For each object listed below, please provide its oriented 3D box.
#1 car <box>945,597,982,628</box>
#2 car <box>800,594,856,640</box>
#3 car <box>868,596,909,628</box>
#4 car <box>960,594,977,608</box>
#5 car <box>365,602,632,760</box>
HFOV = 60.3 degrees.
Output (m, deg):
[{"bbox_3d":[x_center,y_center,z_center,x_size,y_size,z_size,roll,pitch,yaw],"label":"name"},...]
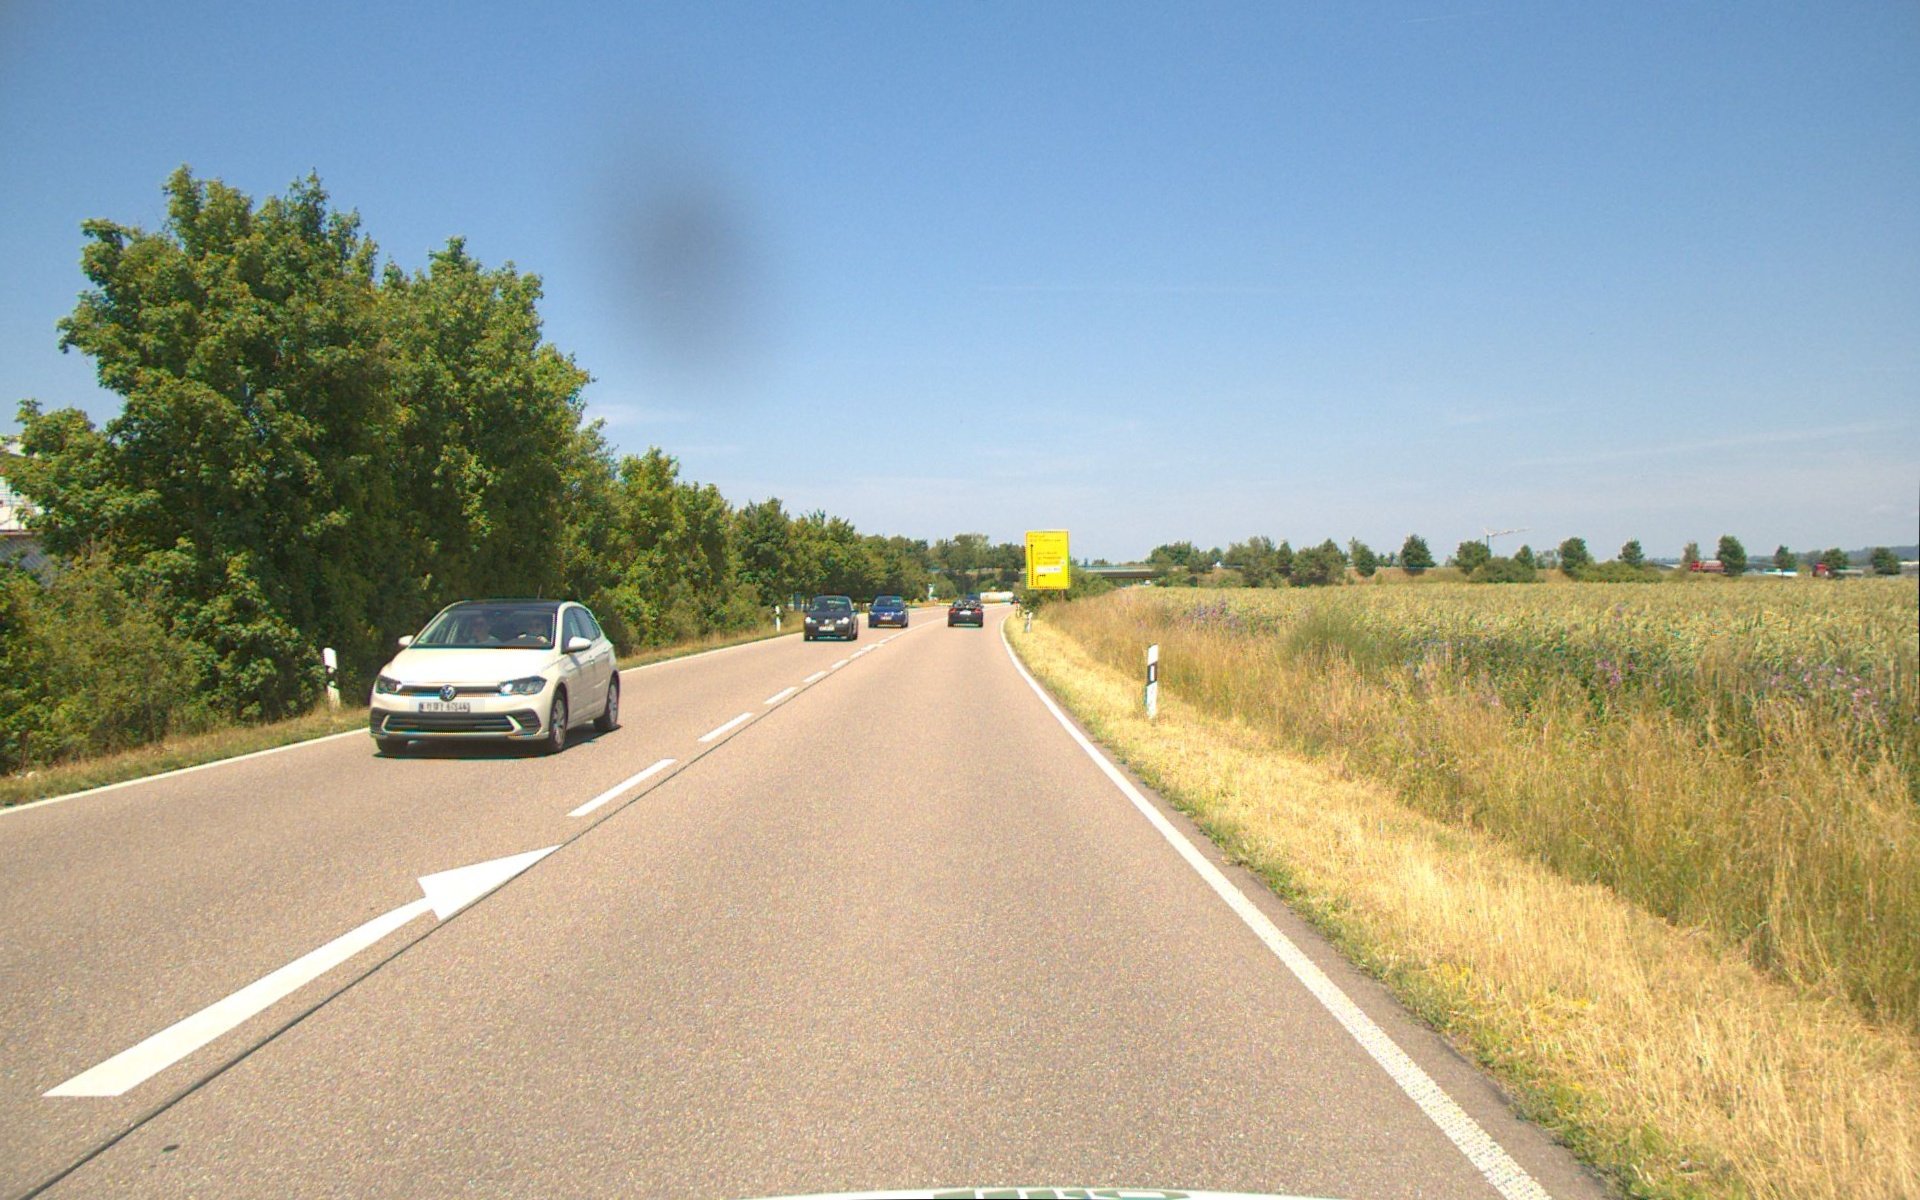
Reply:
[{"bbox_3d":[0.202,0.587,81.786,1.777,1.466,4.000,1,0,1],"label":"car"},{"bbox_3d":[-4.413,0.549,55.650,1.565,1.467,3.999,0,0,0],"label":"car"},{"bbox_3d":[-3.352,0.545,77.917,1.618,1.431,4.001,0,0,2],"label":"car"},{"bbox_3d":[0.915,0.142,176.591,1.744,1.445,4.535,0,0,2],"label":"car"},{"bbox_3d":[-4.539,0.732,16.826,1.672,1.405,3.819,0,0,-1],"label":"car"}]
